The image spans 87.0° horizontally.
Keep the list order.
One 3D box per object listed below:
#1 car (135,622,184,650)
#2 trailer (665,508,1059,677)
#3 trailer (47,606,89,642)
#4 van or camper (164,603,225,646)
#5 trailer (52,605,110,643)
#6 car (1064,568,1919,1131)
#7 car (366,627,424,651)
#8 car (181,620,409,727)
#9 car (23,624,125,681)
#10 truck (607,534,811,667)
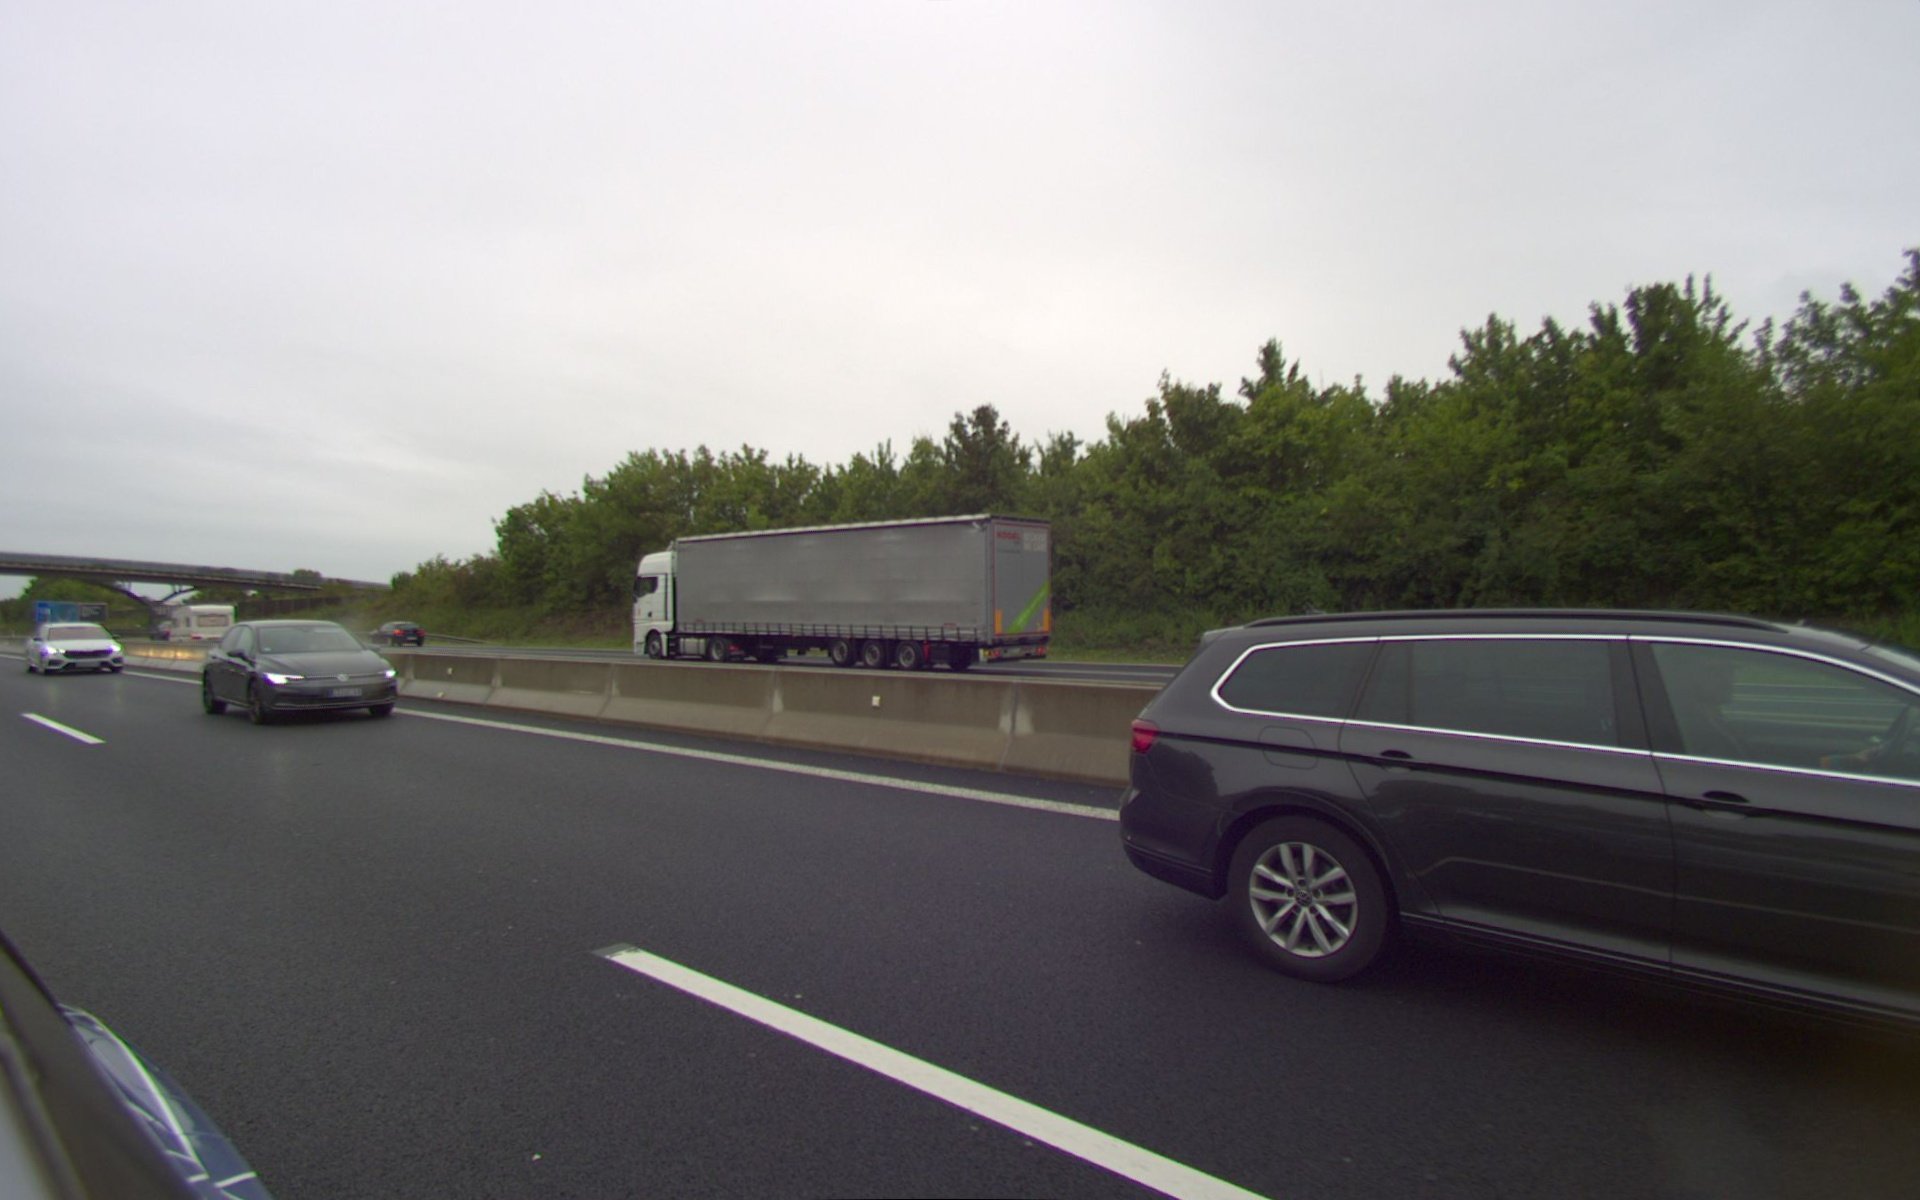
[{"bbox_3d":[-48.551,2.140,61.377,4.385,1.632,1.512,-2,-2,41],"label":"car"},{"bbox_3d":[-3.602,-0.039,30.410,13.838,4.114,3.226,-1,-2,41],"label":"trailer"},{"bbox_3d":[-104.945,2.834,118.998,6.036,4.114,2.762,-1,-2,39],"label":"trailer"},{"bbox_3d":[-45.573,1.458,60.198,5.544,2.488,1.776,-2,-2,41],"label":"van or camper"},{"bbox_3d":[-99.599,2.701,114.574,13.512,4.114,2.762,-1,-2,40],"label":"trailer"},{"bbox_3d":[2.907,0.685,3.685,4.849,1.508,1.880,-1,-2,41],"label":"car"},{"bbox_3d":[-32.590,2.236,58.362,3.920,1.304,1.671,-1,-2,40],"label":"car"},{"bbox_3d":[-10.348,1.026,15.620,4.458,1.416,1.880,-1,-2,42],"label":"car"},{"bbox_3d":[-25.794,1.478,29.423,4.115,1.518,1.879,-2,-2,44],"label":"car"},{"bbox_3d":[-8.807,0.097,34.970,7.437,4.114,3.226,-2,-2,41],"label":"truck"}]
